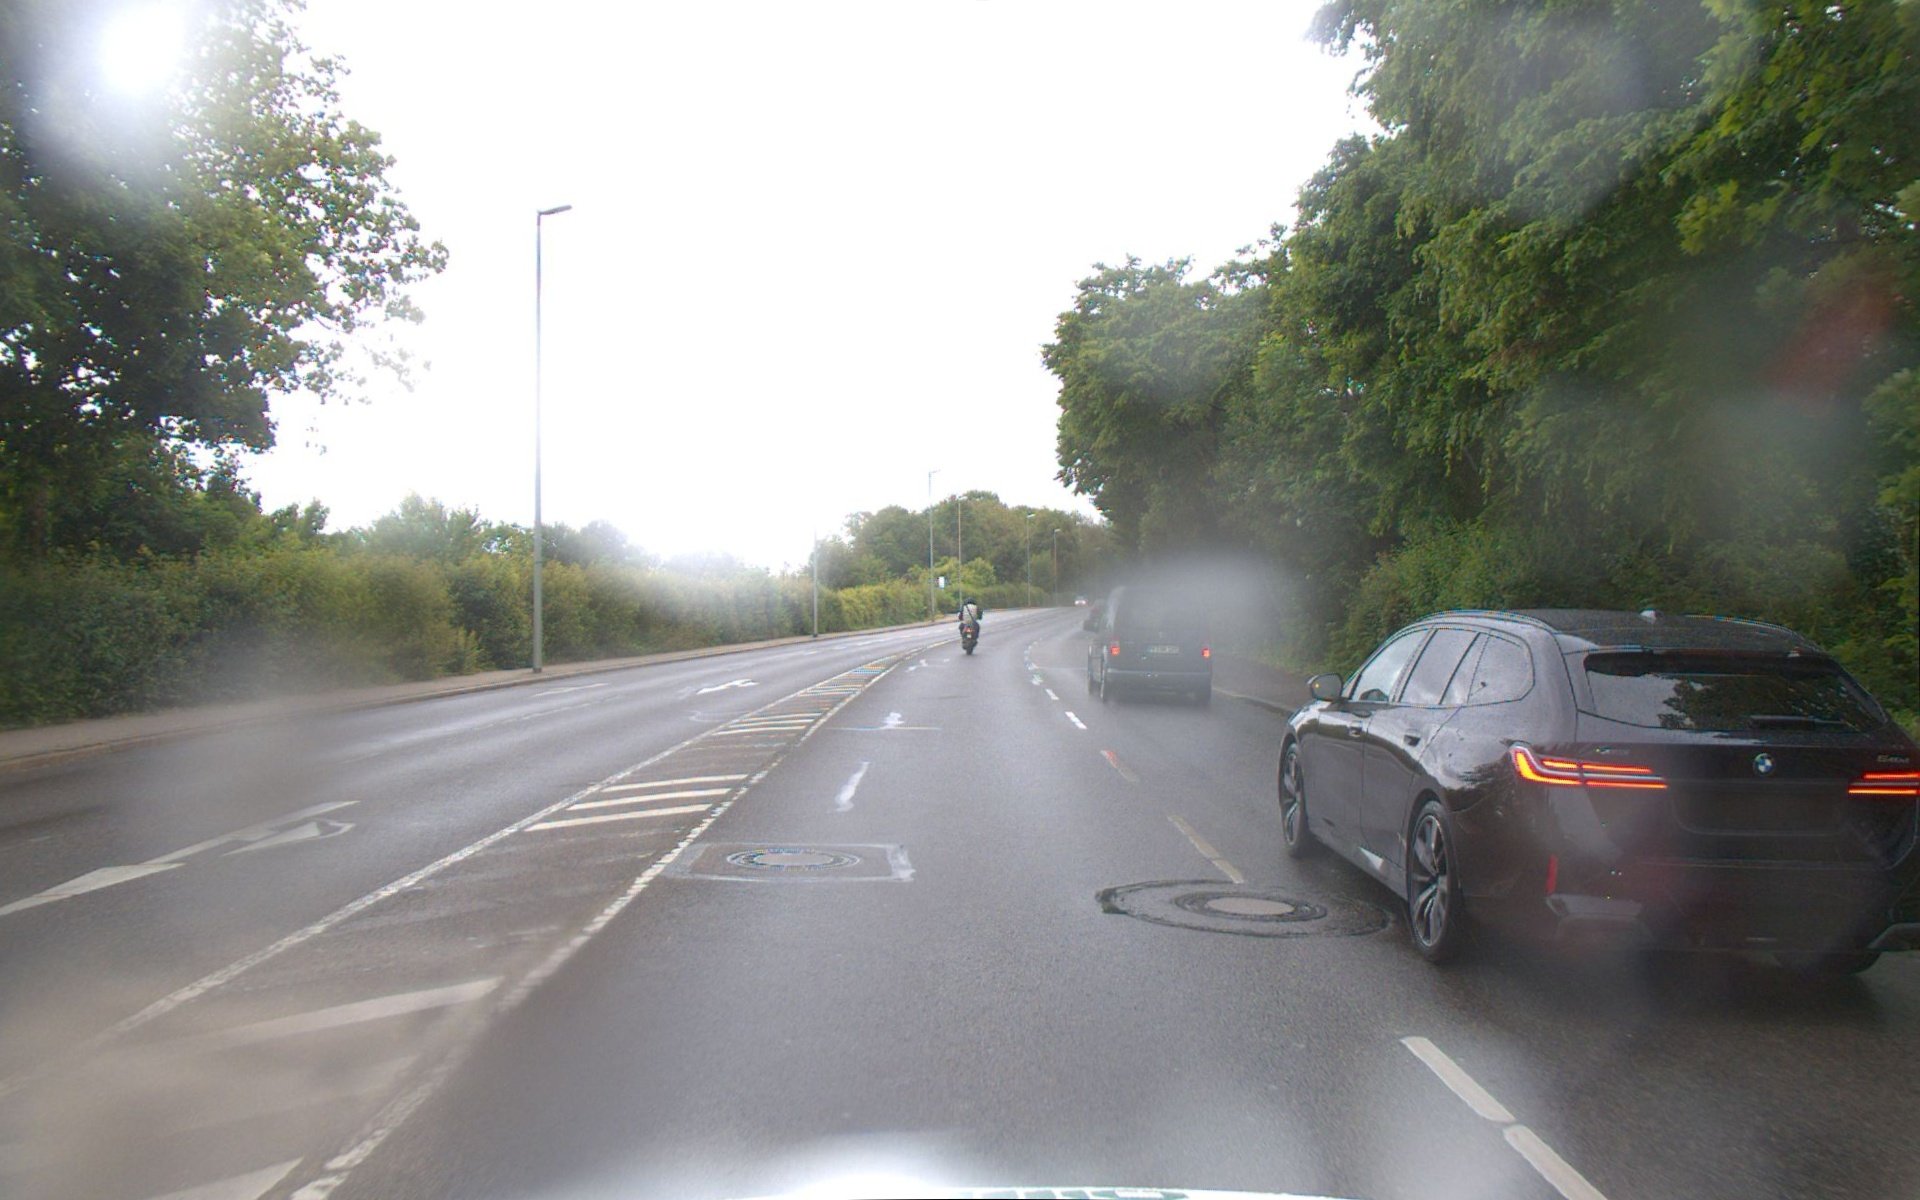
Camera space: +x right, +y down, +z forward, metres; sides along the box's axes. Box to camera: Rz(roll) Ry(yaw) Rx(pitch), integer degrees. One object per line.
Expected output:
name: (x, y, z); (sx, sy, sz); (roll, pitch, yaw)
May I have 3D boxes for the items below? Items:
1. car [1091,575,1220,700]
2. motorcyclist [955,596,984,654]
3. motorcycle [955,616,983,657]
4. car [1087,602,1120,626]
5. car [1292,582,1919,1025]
car: (3.144, 0.546, 27.213); (1.730, 1.841, 3.906); (1, 1, 1)
motorcyclist: (0.277, 0.739, 48.328); (0.827, 1.676, 0.468); (0, 1, 3)
motorcycle: (0.270, 1.068, 48.512); (0.726, 1.139, 1.427); (1, 1, 3)
car: (9.628, 0.941, 110.757); (1.972, 1.440, 4.490); (1, 1, 7)
car: (2.867, 0.755, 7.846); (1.729, 1.563, 3.671); (2, 0, -1)
